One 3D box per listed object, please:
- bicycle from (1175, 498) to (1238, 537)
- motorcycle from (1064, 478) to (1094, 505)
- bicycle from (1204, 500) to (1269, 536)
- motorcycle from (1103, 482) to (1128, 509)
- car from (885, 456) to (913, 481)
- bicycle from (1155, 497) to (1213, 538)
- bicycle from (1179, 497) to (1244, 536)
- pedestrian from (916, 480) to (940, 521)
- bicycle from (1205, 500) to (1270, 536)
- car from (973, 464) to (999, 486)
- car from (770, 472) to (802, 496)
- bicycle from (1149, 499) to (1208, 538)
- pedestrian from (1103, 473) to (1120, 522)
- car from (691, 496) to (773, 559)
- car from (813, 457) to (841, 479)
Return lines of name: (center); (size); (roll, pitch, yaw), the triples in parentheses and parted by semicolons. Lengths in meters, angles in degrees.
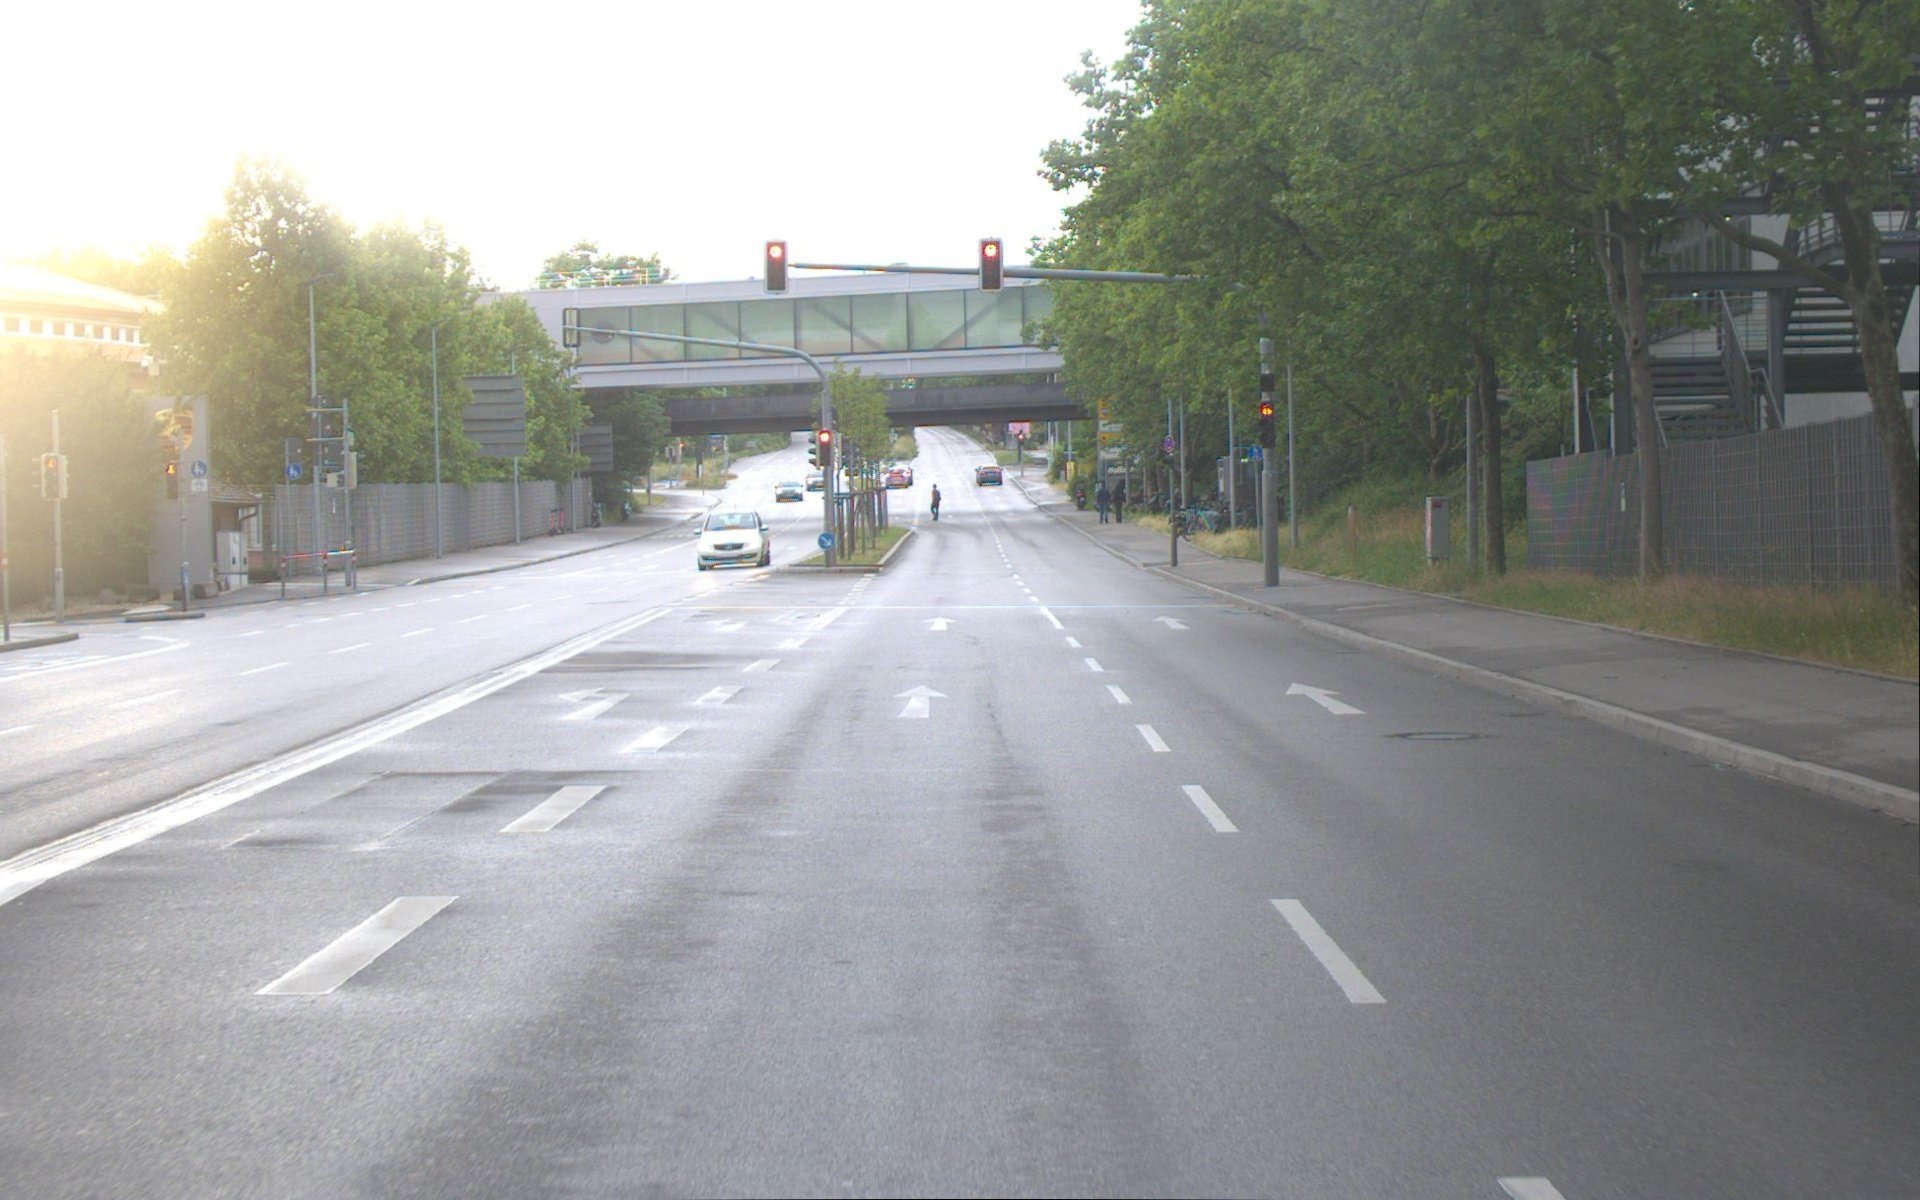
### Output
bicycle: (7.947, -2.666, 110.994); (1.990, 1.229, 0.541); (1, 1, 2)
motorcycle: (6.173, -5.634, 178.296); (0.790, 1.307, 2.377); (-3, 2, -17)
bicycle: (8.624, -2.544, 107.331); (1.990, 1.091, 0.541); (1, 1, 2)
motorcycle: (7.820, -5.276, 173.329); (0.790, 1.307, 2.377); (-3, 2, -8)
car: (-4.596, -9.963, 259.966); (1.993, 1.756, 4.000); (1, 1, 1)
bicycle: (7.842, -2.893, 120.480); (1.990, 1.425, 0.723); (1, 1, 2)
bicycle: (7.956, -2.633, 108.803); (1.990, 1.212, 0.541); (1, 1, 2)
pedestrian: (-1.589, -4.991, 171.793); (0.873, 1.997, 0.854); (-2, 2, 18)
bicycle: (8.618, -2.537, 106.762); (1.990, 1.091, 0.541); (1, 1, 2)
car: (1.949, -9.257, 255.183); (1.875, 1.492, 4.068); (1, 1, 1)
car: (-11.916, -7.941, 235.709); (1.877, 1.619, 3.779); (-2, 2, 1)
bicycle: (7.554, -2.813, 118.809); (1.990, 1.324, 0.576); (1, 1, 2)
pedestrian: (6.427, -4.342, 145.628); (0.622, 2.006, 0.605); (-2, 1, 1)
car: (-6.157, -1.979, 93.132); (1.877, 1.619, 3.779); (-2, 2, 1)
car: (-10.108, -10.037, 261.218); (1.877, 1.619, 3.779); (-2, 2, 1)
